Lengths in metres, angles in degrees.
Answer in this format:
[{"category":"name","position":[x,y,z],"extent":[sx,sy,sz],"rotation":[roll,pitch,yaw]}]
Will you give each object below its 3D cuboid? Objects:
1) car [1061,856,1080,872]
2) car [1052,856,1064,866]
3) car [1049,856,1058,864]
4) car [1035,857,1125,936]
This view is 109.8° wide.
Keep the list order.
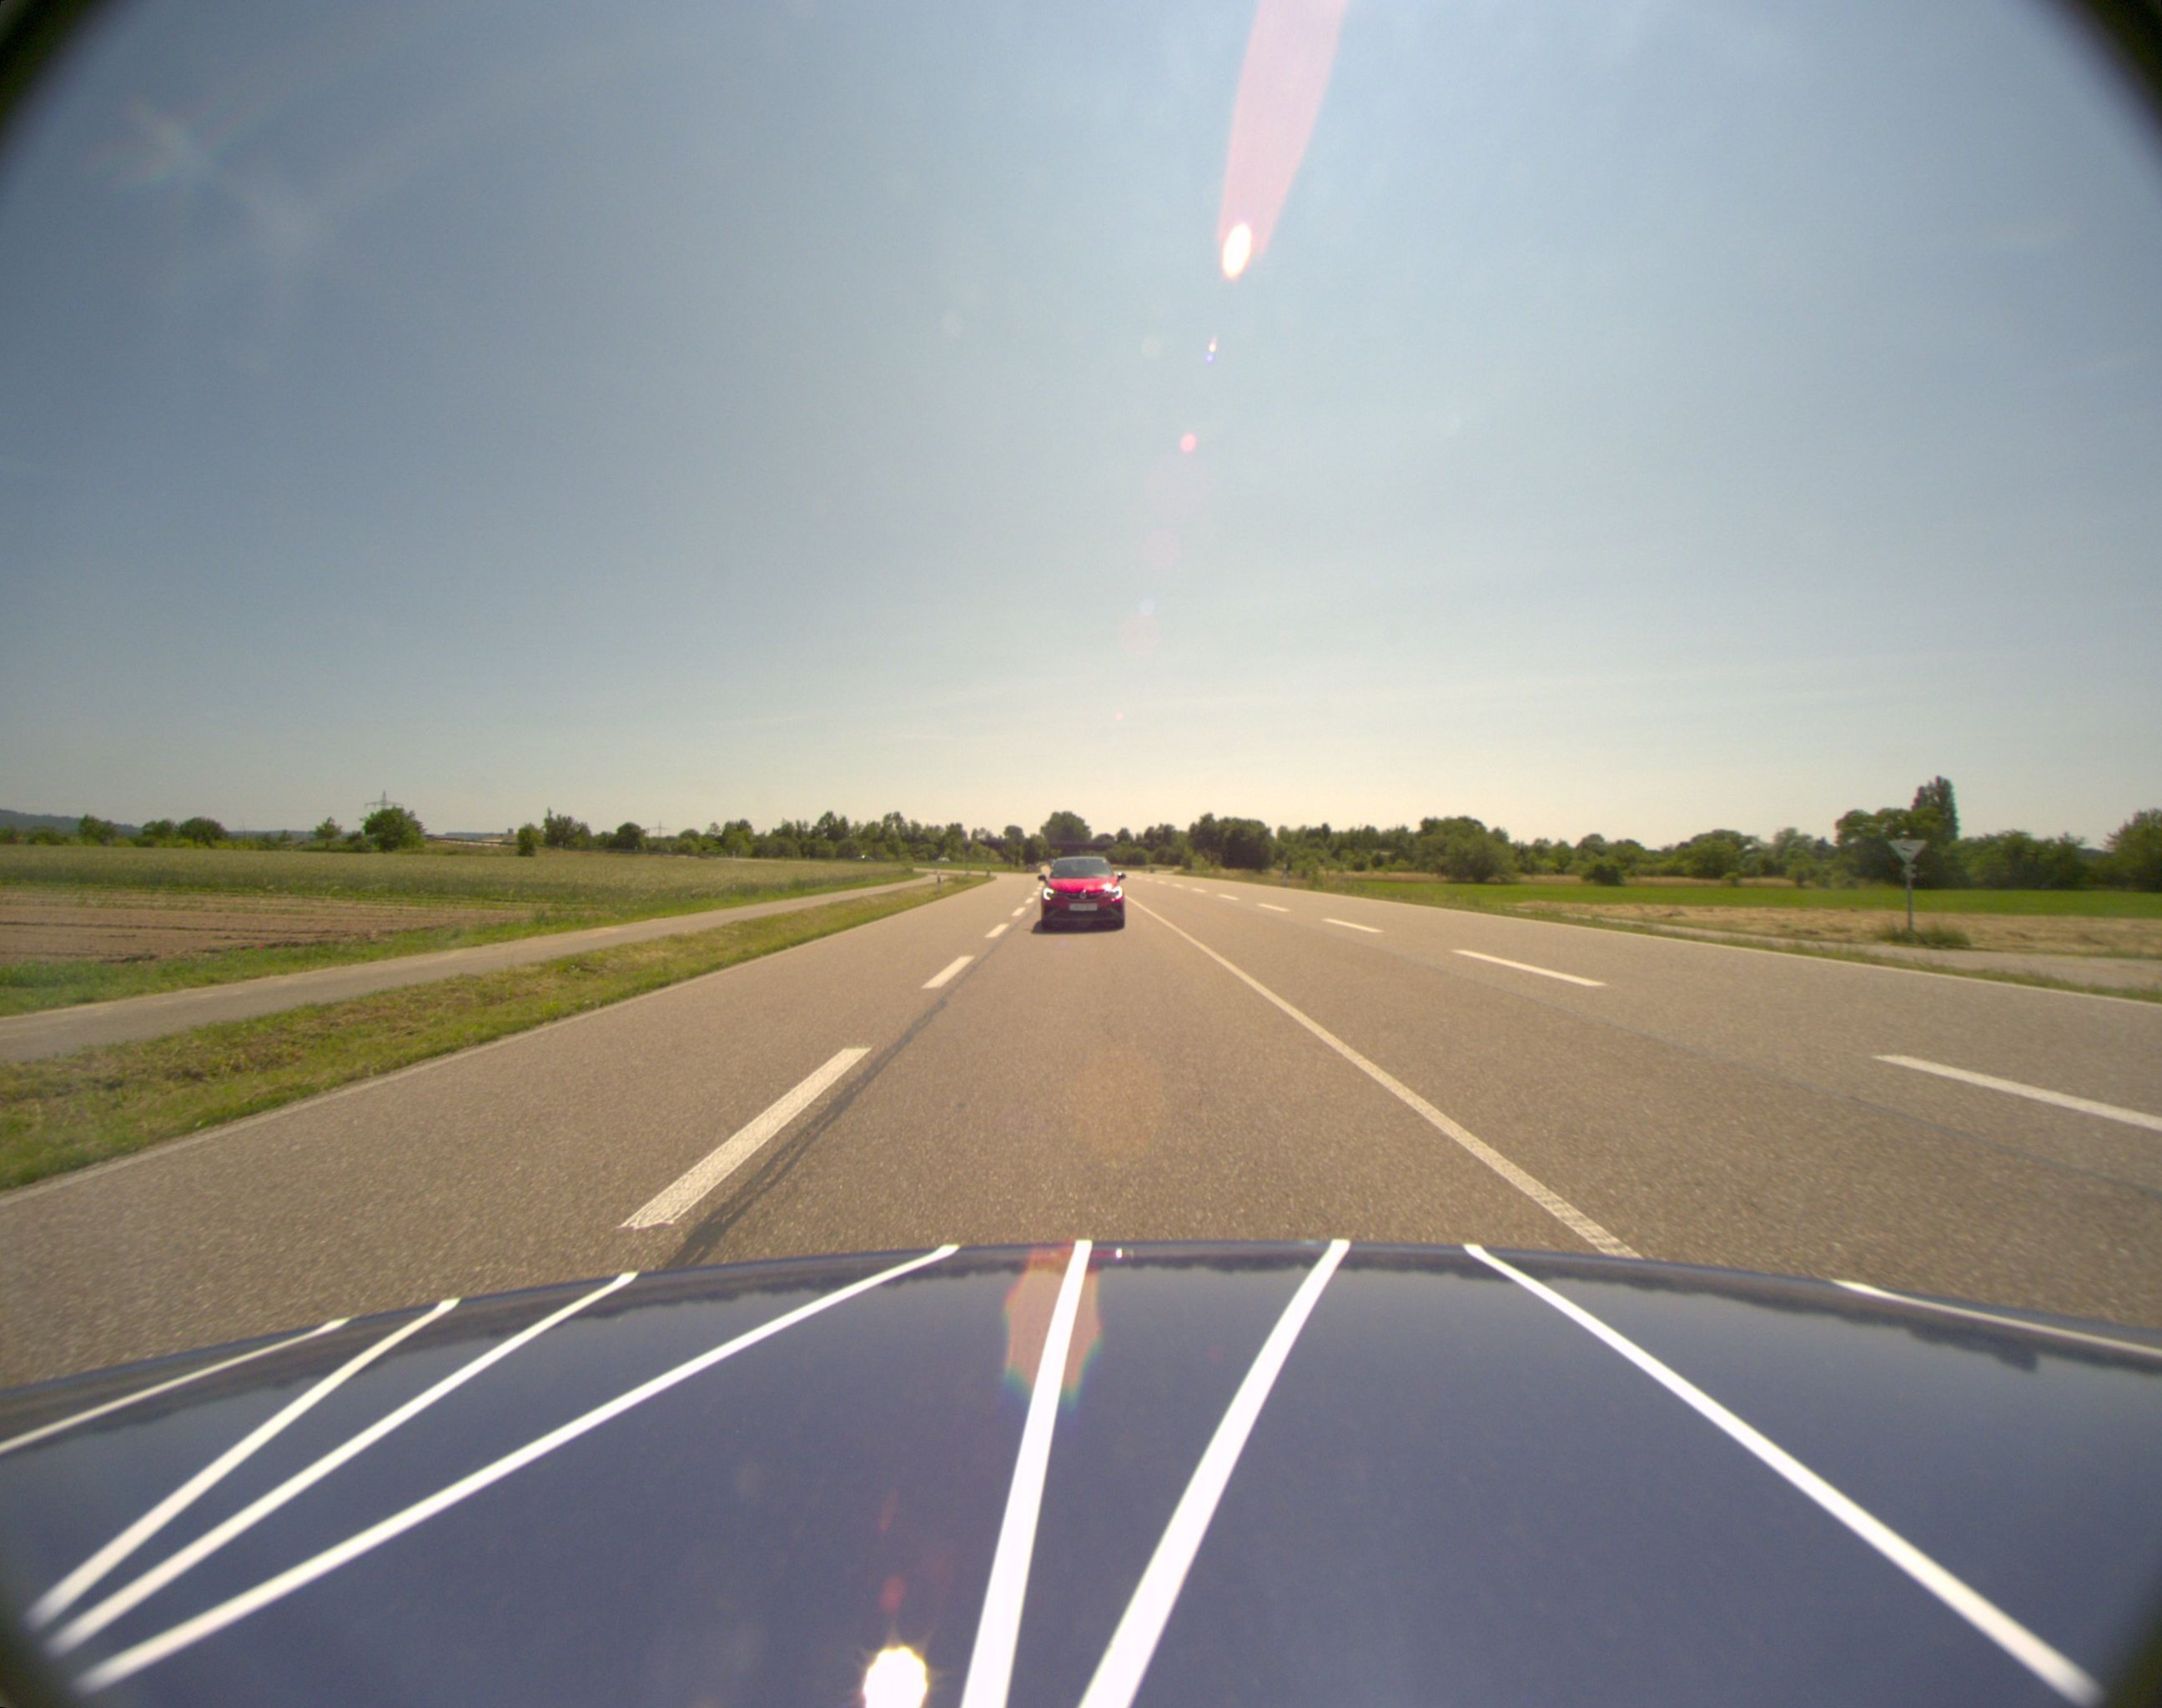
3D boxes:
[{"category":"car","position":[-1.078,1.022,79.428],"extent":[1.983,1.587,5.401],"rotation":[-1,0,0]},{"category":"car","position":[-3.841,1.210,127.871],"extent":[1.983,1.587,5.401],"rotation":[-1,0,-1]},{"category":"car","position":[-6.388,1.371,175.594],"extent":[1.983,1.587,5.400],"rotation":[-1,0,-3]},{"category":"car","position":[0.030,0.881,17.969],"extent":[1.837,1.587,4.722],"rotation":[-1,0,1]}]
